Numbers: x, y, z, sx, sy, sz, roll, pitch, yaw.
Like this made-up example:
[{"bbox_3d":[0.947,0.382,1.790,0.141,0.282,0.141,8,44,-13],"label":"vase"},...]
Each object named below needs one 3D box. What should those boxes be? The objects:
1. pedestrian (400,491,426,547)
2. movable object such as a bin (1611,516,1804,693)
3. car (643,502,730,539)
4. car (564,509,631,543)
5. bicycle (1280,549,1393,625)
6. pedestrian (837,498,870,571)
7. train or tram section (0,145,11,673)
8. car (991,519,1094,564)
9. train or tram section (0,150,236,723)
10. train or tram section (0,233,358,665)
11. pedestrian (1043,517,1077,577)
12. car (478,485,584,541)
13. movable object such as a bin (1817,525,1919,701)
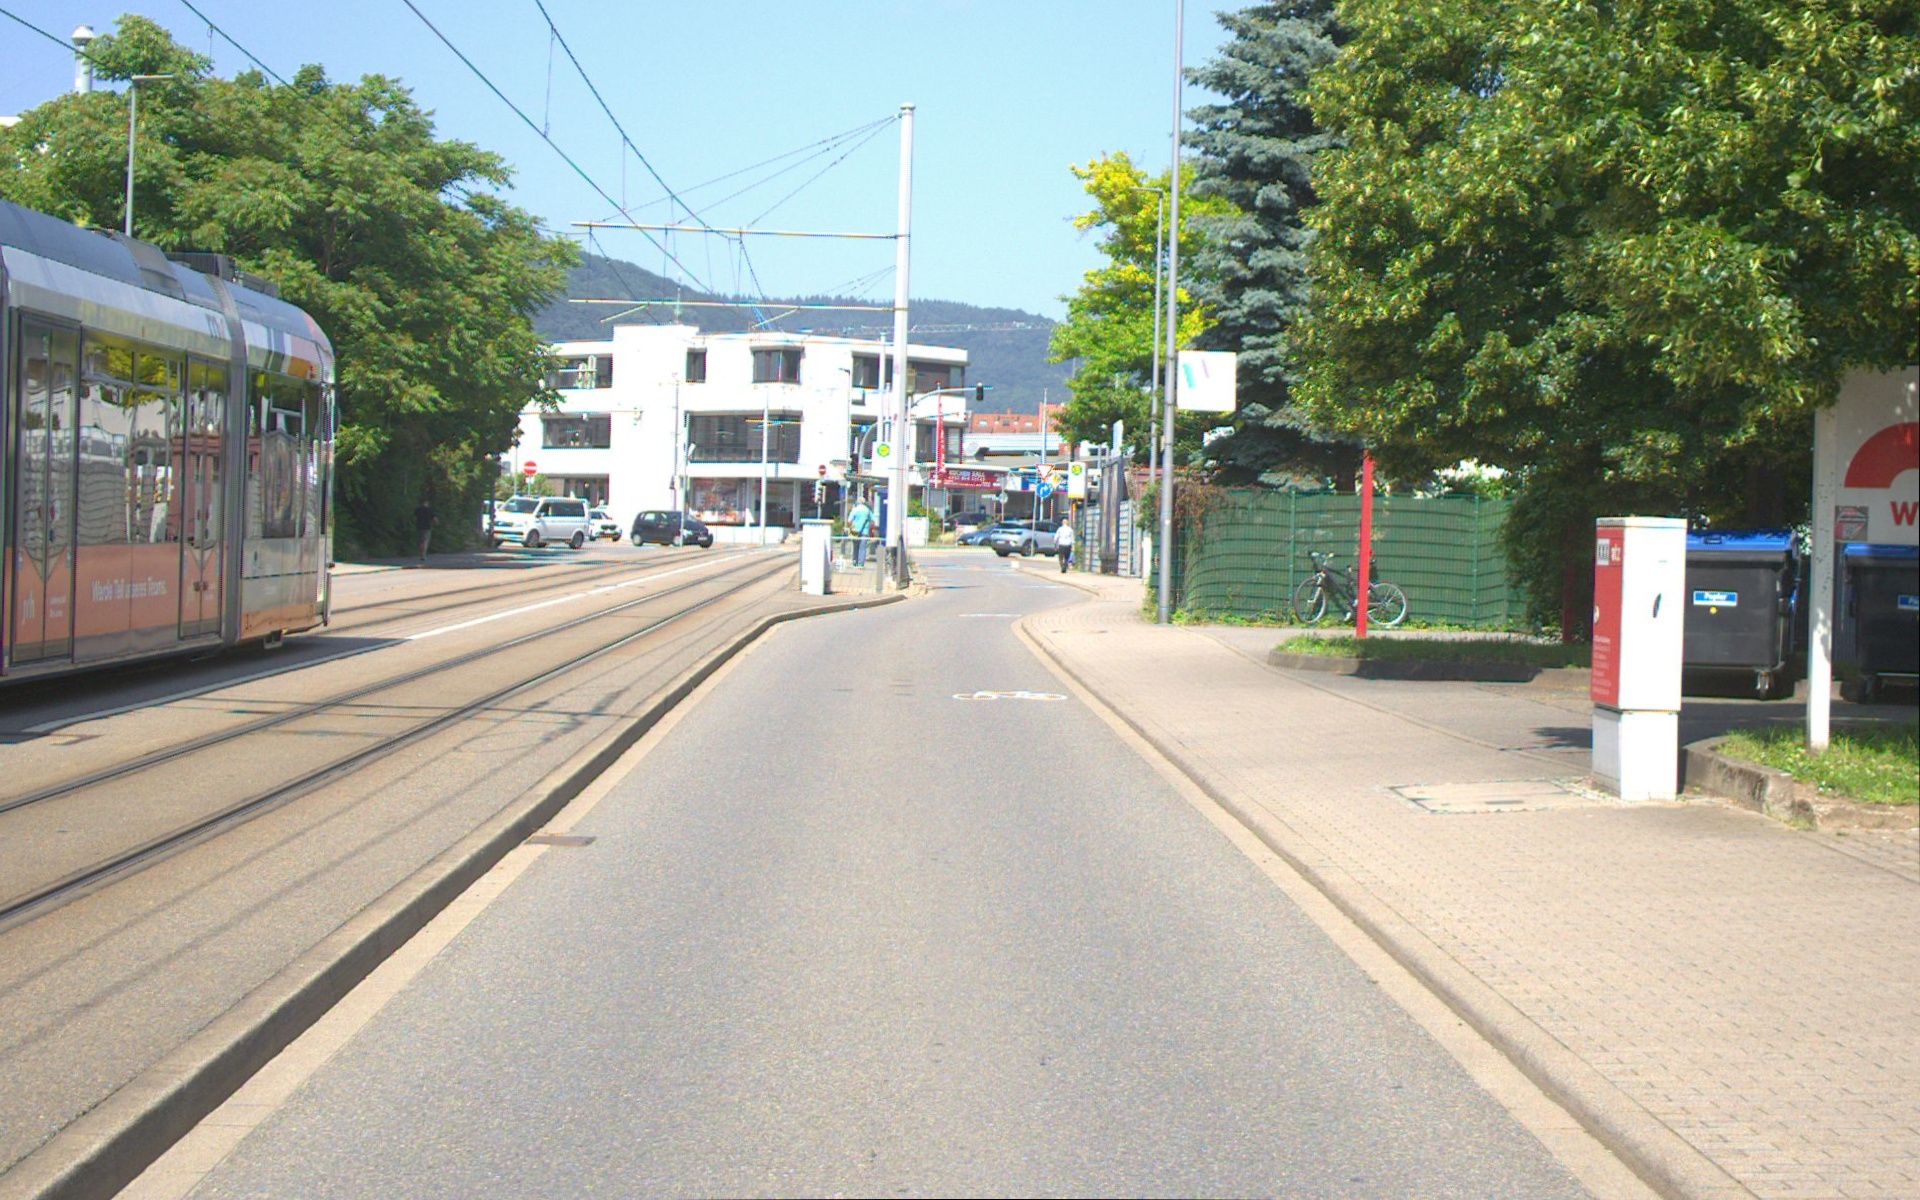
[{"bbox_3d":[-14.994,-2.219,94.296,0.584,1.532,0.657,1,1,-1],"label":"pedestrian"},{"bbox_3d":[6.360,0.043,29.226,1.386,1.425,0.989,2,-1,24],"label":"movable object such as a bin"},{"bbox_3d":[-11.671,-3.404,146.777,3.535,1.329,1.674,6,3,42],"label":"car"},{"bbox_3d":[-18.312,-3.722,173.484,1.756,1.641,3.762,0,2,-34],"label":"car"},{"bbox_3d":[5.134,-0.176,46.912,1.471,0.987,0.388,2,-2,-1],"label":"bicycle"},{"bbox_3d":[-2.558,-1.566,82.331,0.743,1.734,0.727,1,1,-1],"label":"pedestrian"},{"bbox_3d":[-6.961,-0.953,18.060,2.611,3.435,5.011,2,1,-1],"label":"train or tram section"},{"bbox_3d":[3.510,-2.500,146.793,3.985,1.744,1.776,2,1,-16],"label":"car"},{"bbox_3d":[-7.080,-1.090,24.150,2.580,3.435,7.138,2,1,-1],"label":"train or tram section"},{"bbox_3d":[-7.230,-1.294,30.919,2.580,3.435,6.363,2,1,-1],"label":"train or tram section"},{"bbox_3d":[3.064,-1.628,105.402,0.940,1.781,0.953,2,2,-2],"label":"pedestrian"},{"bbox_3d":[-16.373,-3.315,131.338,1.863,1.930,3.993,5,3,32],"label":"car"},{"bbox_3d":[7.943,0.123,28.769,1.318,1.425,0.883,2,-1,24],"label":"movable object such as a bin"}]
